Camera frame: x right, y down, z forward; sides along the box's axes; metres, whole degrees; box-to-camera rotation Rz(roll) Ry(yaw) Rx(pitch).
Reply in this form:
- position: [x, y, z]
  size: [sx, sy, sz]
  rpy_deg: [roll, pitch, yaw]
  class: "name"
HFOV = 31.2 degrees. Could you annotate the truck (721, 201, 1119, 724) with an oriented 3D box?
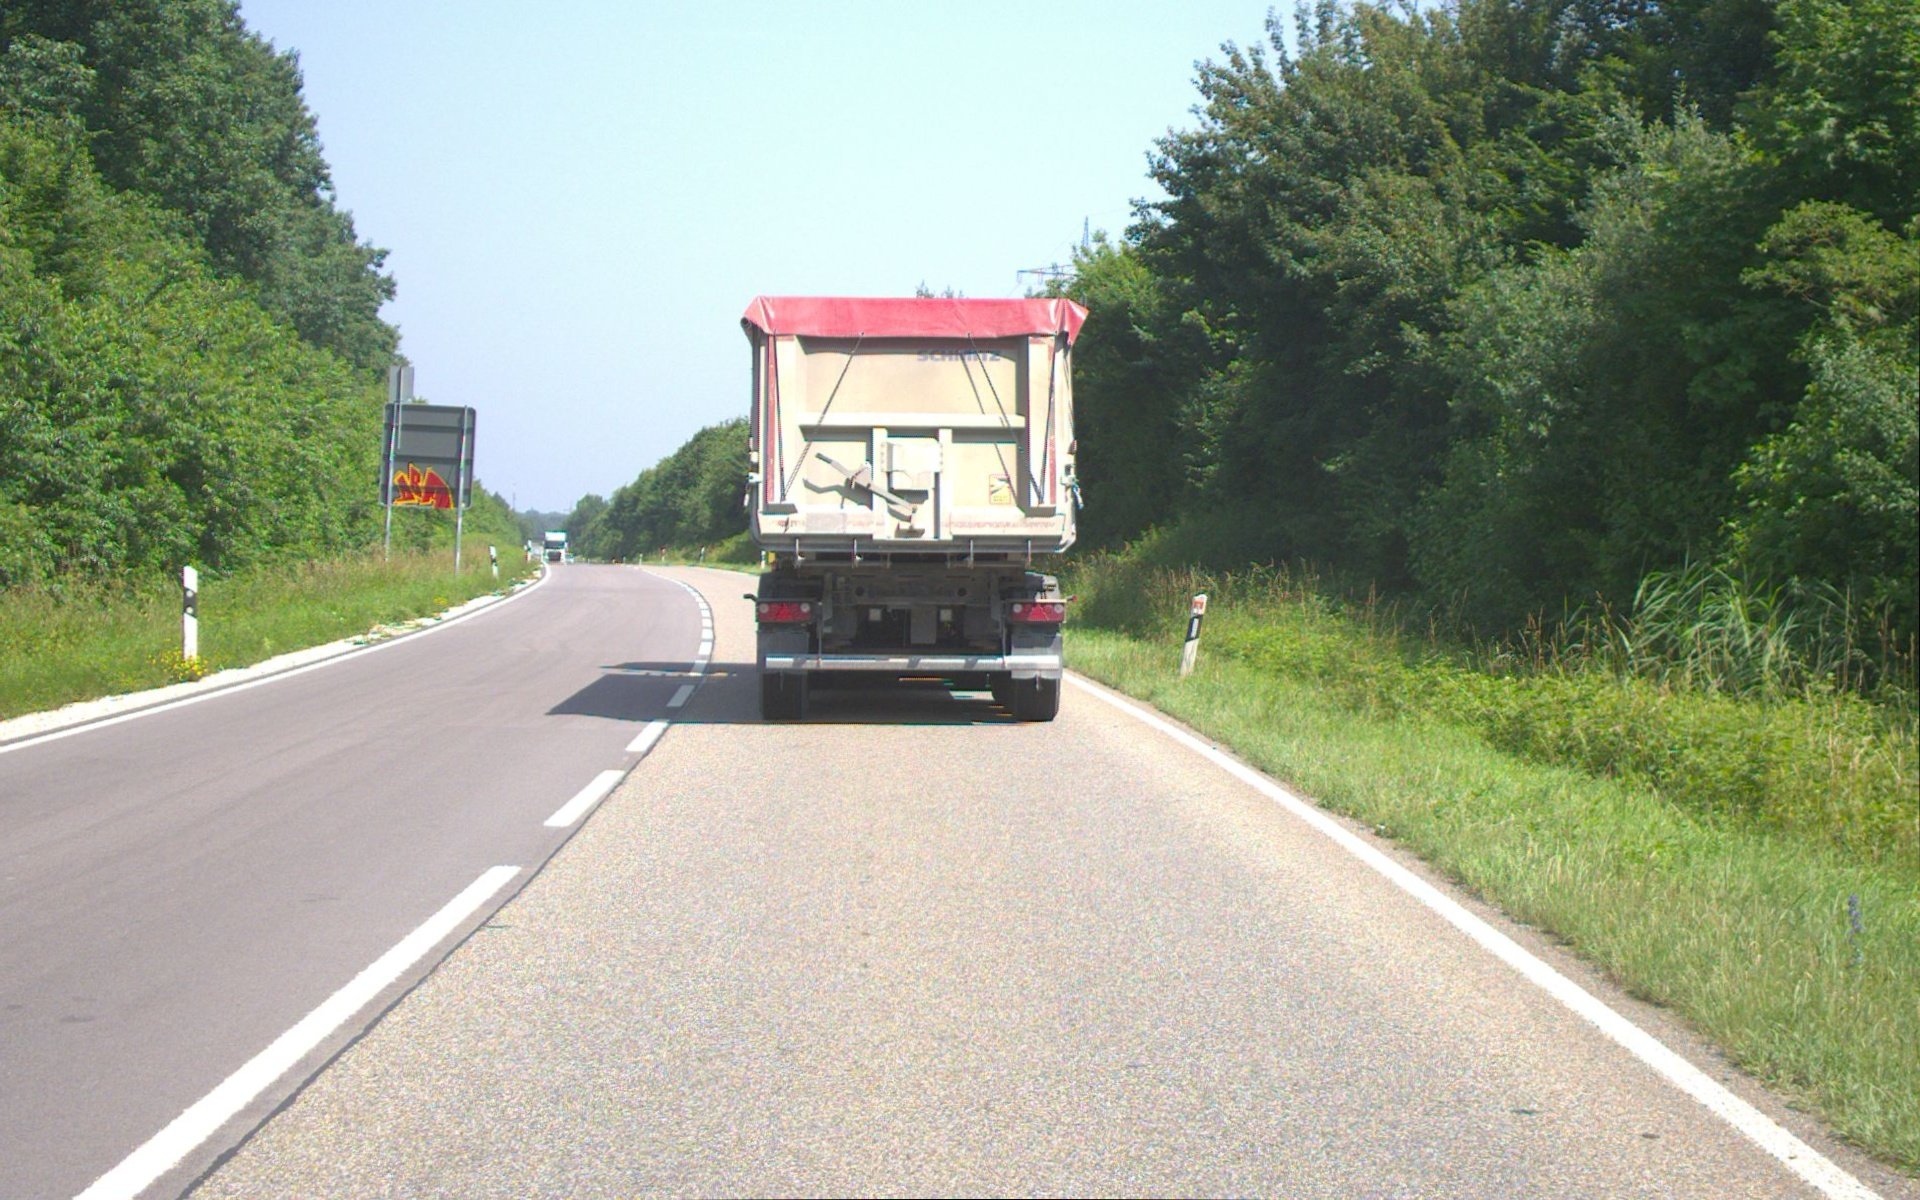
- position: [-0.717, -1.181, 32.188]
  size: [2.893, 3.949, 11.935]
  rpy_deg: [1, 1, -4]
  class: "truck"
